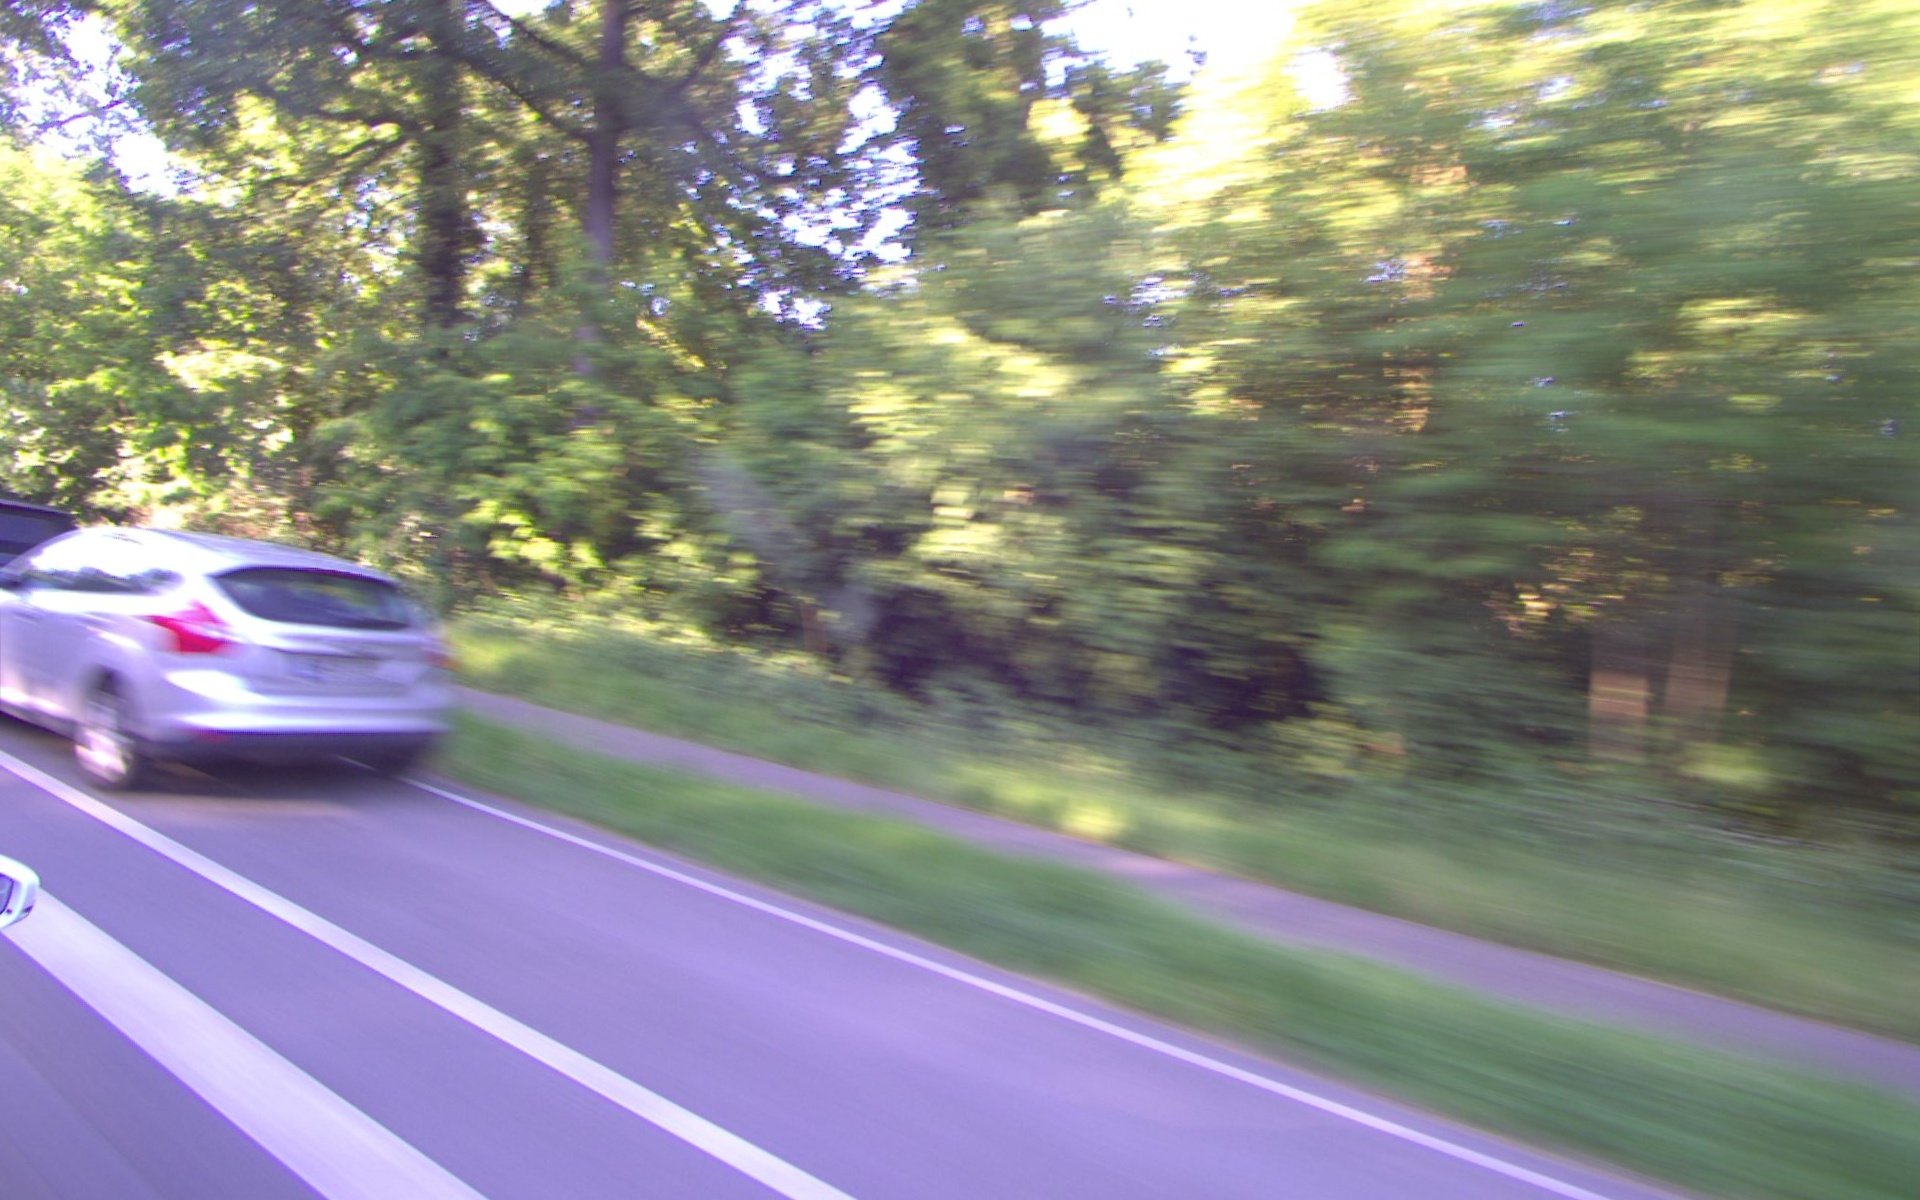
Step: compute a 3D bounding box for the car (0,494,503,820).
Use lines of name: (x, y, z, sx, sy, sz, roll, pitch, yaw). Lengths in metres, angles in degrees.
car: (-5.331, 0.228, 6.847, 4.327, 1.504, 1.739, 7, -3, 31)

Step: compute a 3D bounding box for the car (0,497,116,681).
car: (-9.527, -0.258, 9.346, 2.961, 1.547, 1.590, 7, -2, 32)
